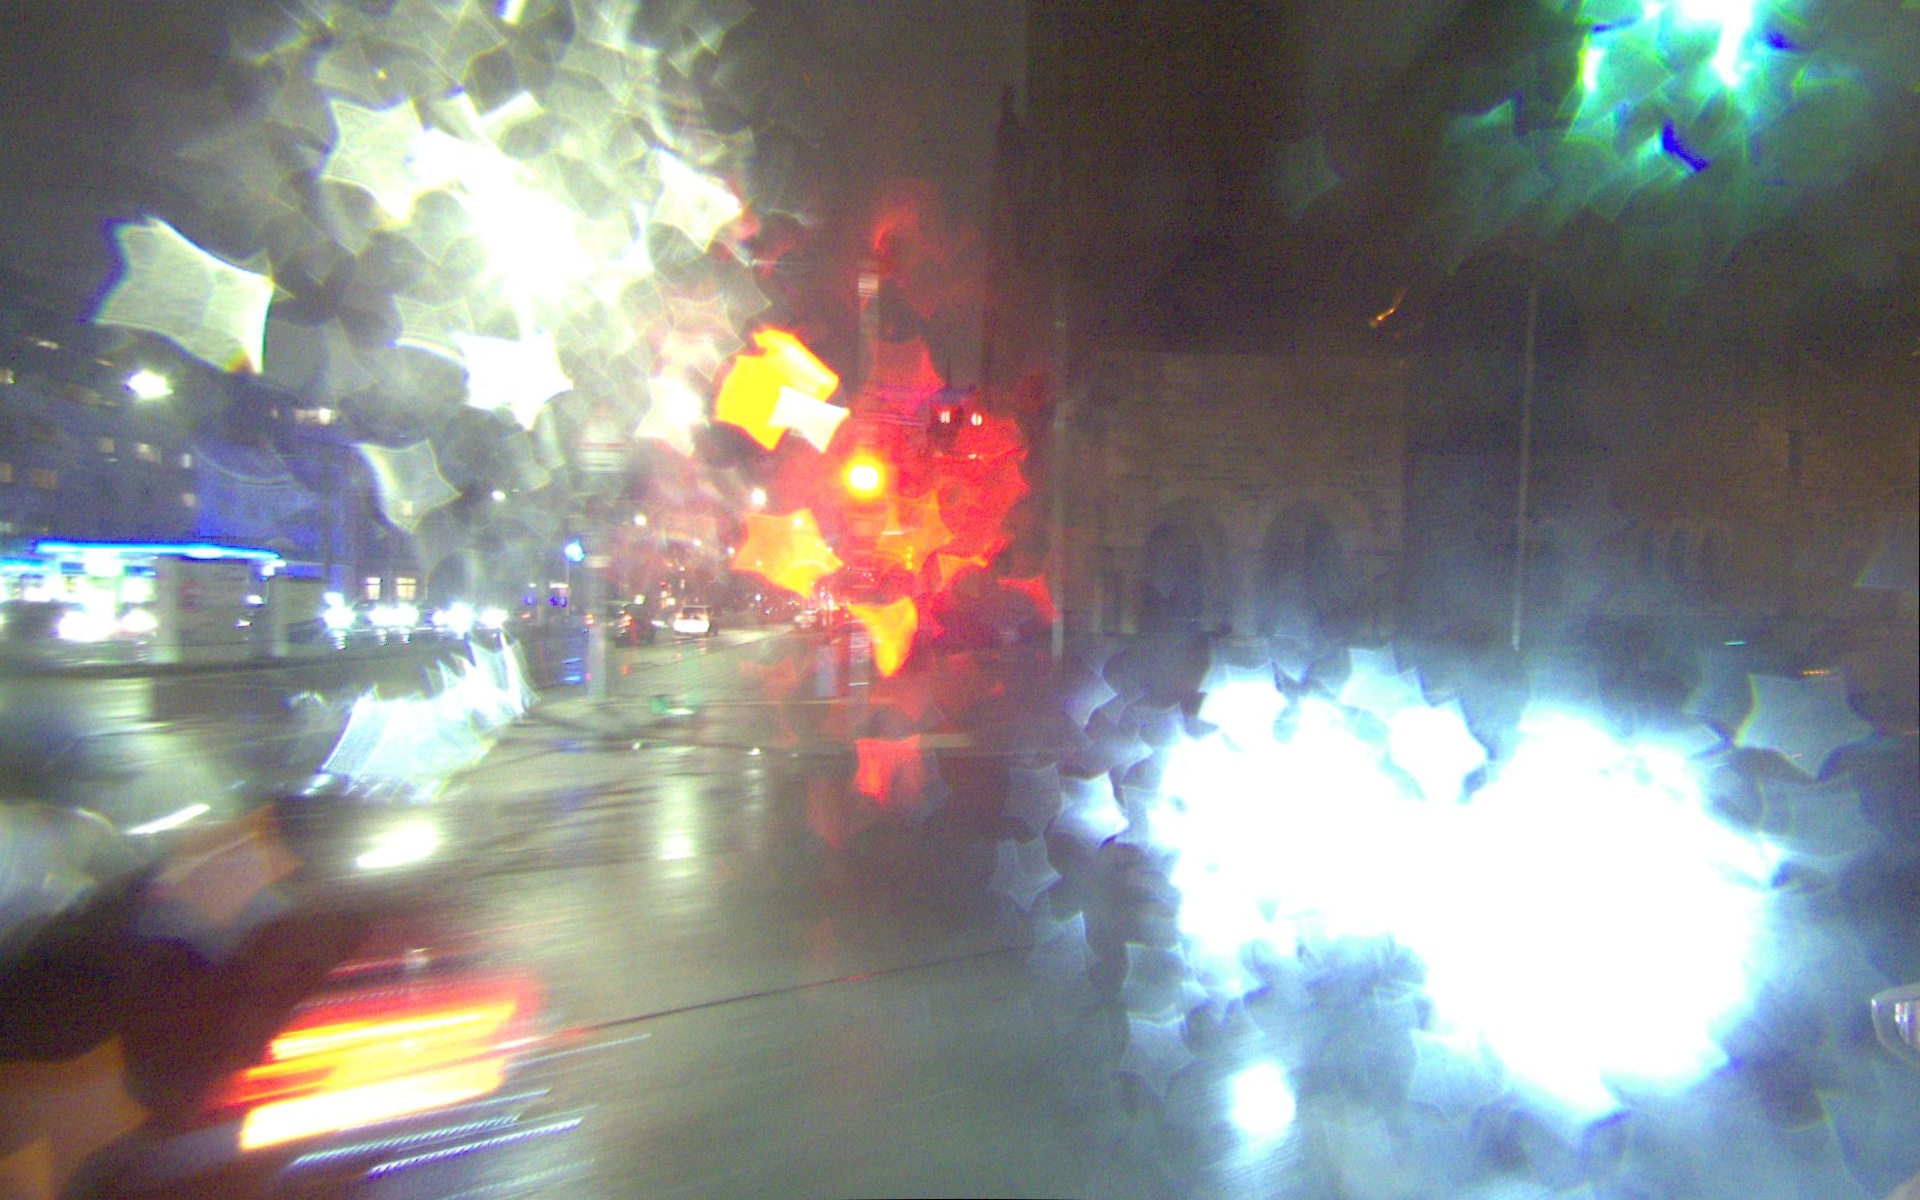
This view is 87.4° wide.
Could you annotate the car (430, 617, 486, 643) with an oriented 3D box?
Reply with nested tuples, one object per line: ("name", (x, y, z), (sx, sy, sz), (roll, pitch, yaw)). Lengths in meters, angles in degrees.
("car", (-36.029, 2.130, 72.220), (1.861, 1.766, 4.738), (0, -1, -3))

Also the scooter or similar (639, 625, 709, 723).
("scooter or similar", (-3.838, 0.971, 13.463), (1.061, 1.256, 0.285), (0, 0, 33))

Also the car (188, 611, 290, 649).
("car", (-34.507, 1.398, 48.232), (1.862, 1.766, 4.735), (0, -1, -6))

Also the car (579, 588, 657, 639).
("car", (-12.806, 0.494, 37.896), (1.862, 1.804, 4.329), (0, -1, -6))

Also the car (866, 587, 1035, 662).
("car", (-0.273, 0.583, 25.429), (4.113, 1.723, 1.702), (-1, 0, -5))

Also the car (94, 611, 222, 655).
("car", (-34.271, 1.351, 43.114), (1.861, 1.766, 4.738), (0, -1, -3))

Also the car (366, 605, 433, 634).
("car", (-35.815, 1.248, 64.355), (1.861, 1.766, 4.738), (0, -1, -3))

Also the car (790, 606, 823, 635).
("car", (-9.947, 1.323, 65.017), (2.050, 1.804, 4.327), (0, -1, -9))

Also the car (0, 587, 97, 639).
("car", (-33.829, 0.461, 36.111), (1.862, 1.766, 4.735), (0, -1, -6))

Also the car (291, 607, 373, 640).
("car", (-35.351, 1.277, 56.677), (1.861, 1.766, 4.738), (0, -1, -3))

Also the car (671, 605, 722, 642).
("car", (-13.428, 1.158, 51.320), (1.862, 1.804, 4.329), (0, -1, -6))

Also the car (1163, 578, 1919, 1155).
("car", (3.374, 0.753, 4.740), (4.797, 1.575, 1.779), (1, 0, -30))

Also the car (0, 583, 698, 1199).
("car", (-2.556, 0.693, 1.231), (4.049, 1.439, 1.660), (1, 0, -30))
